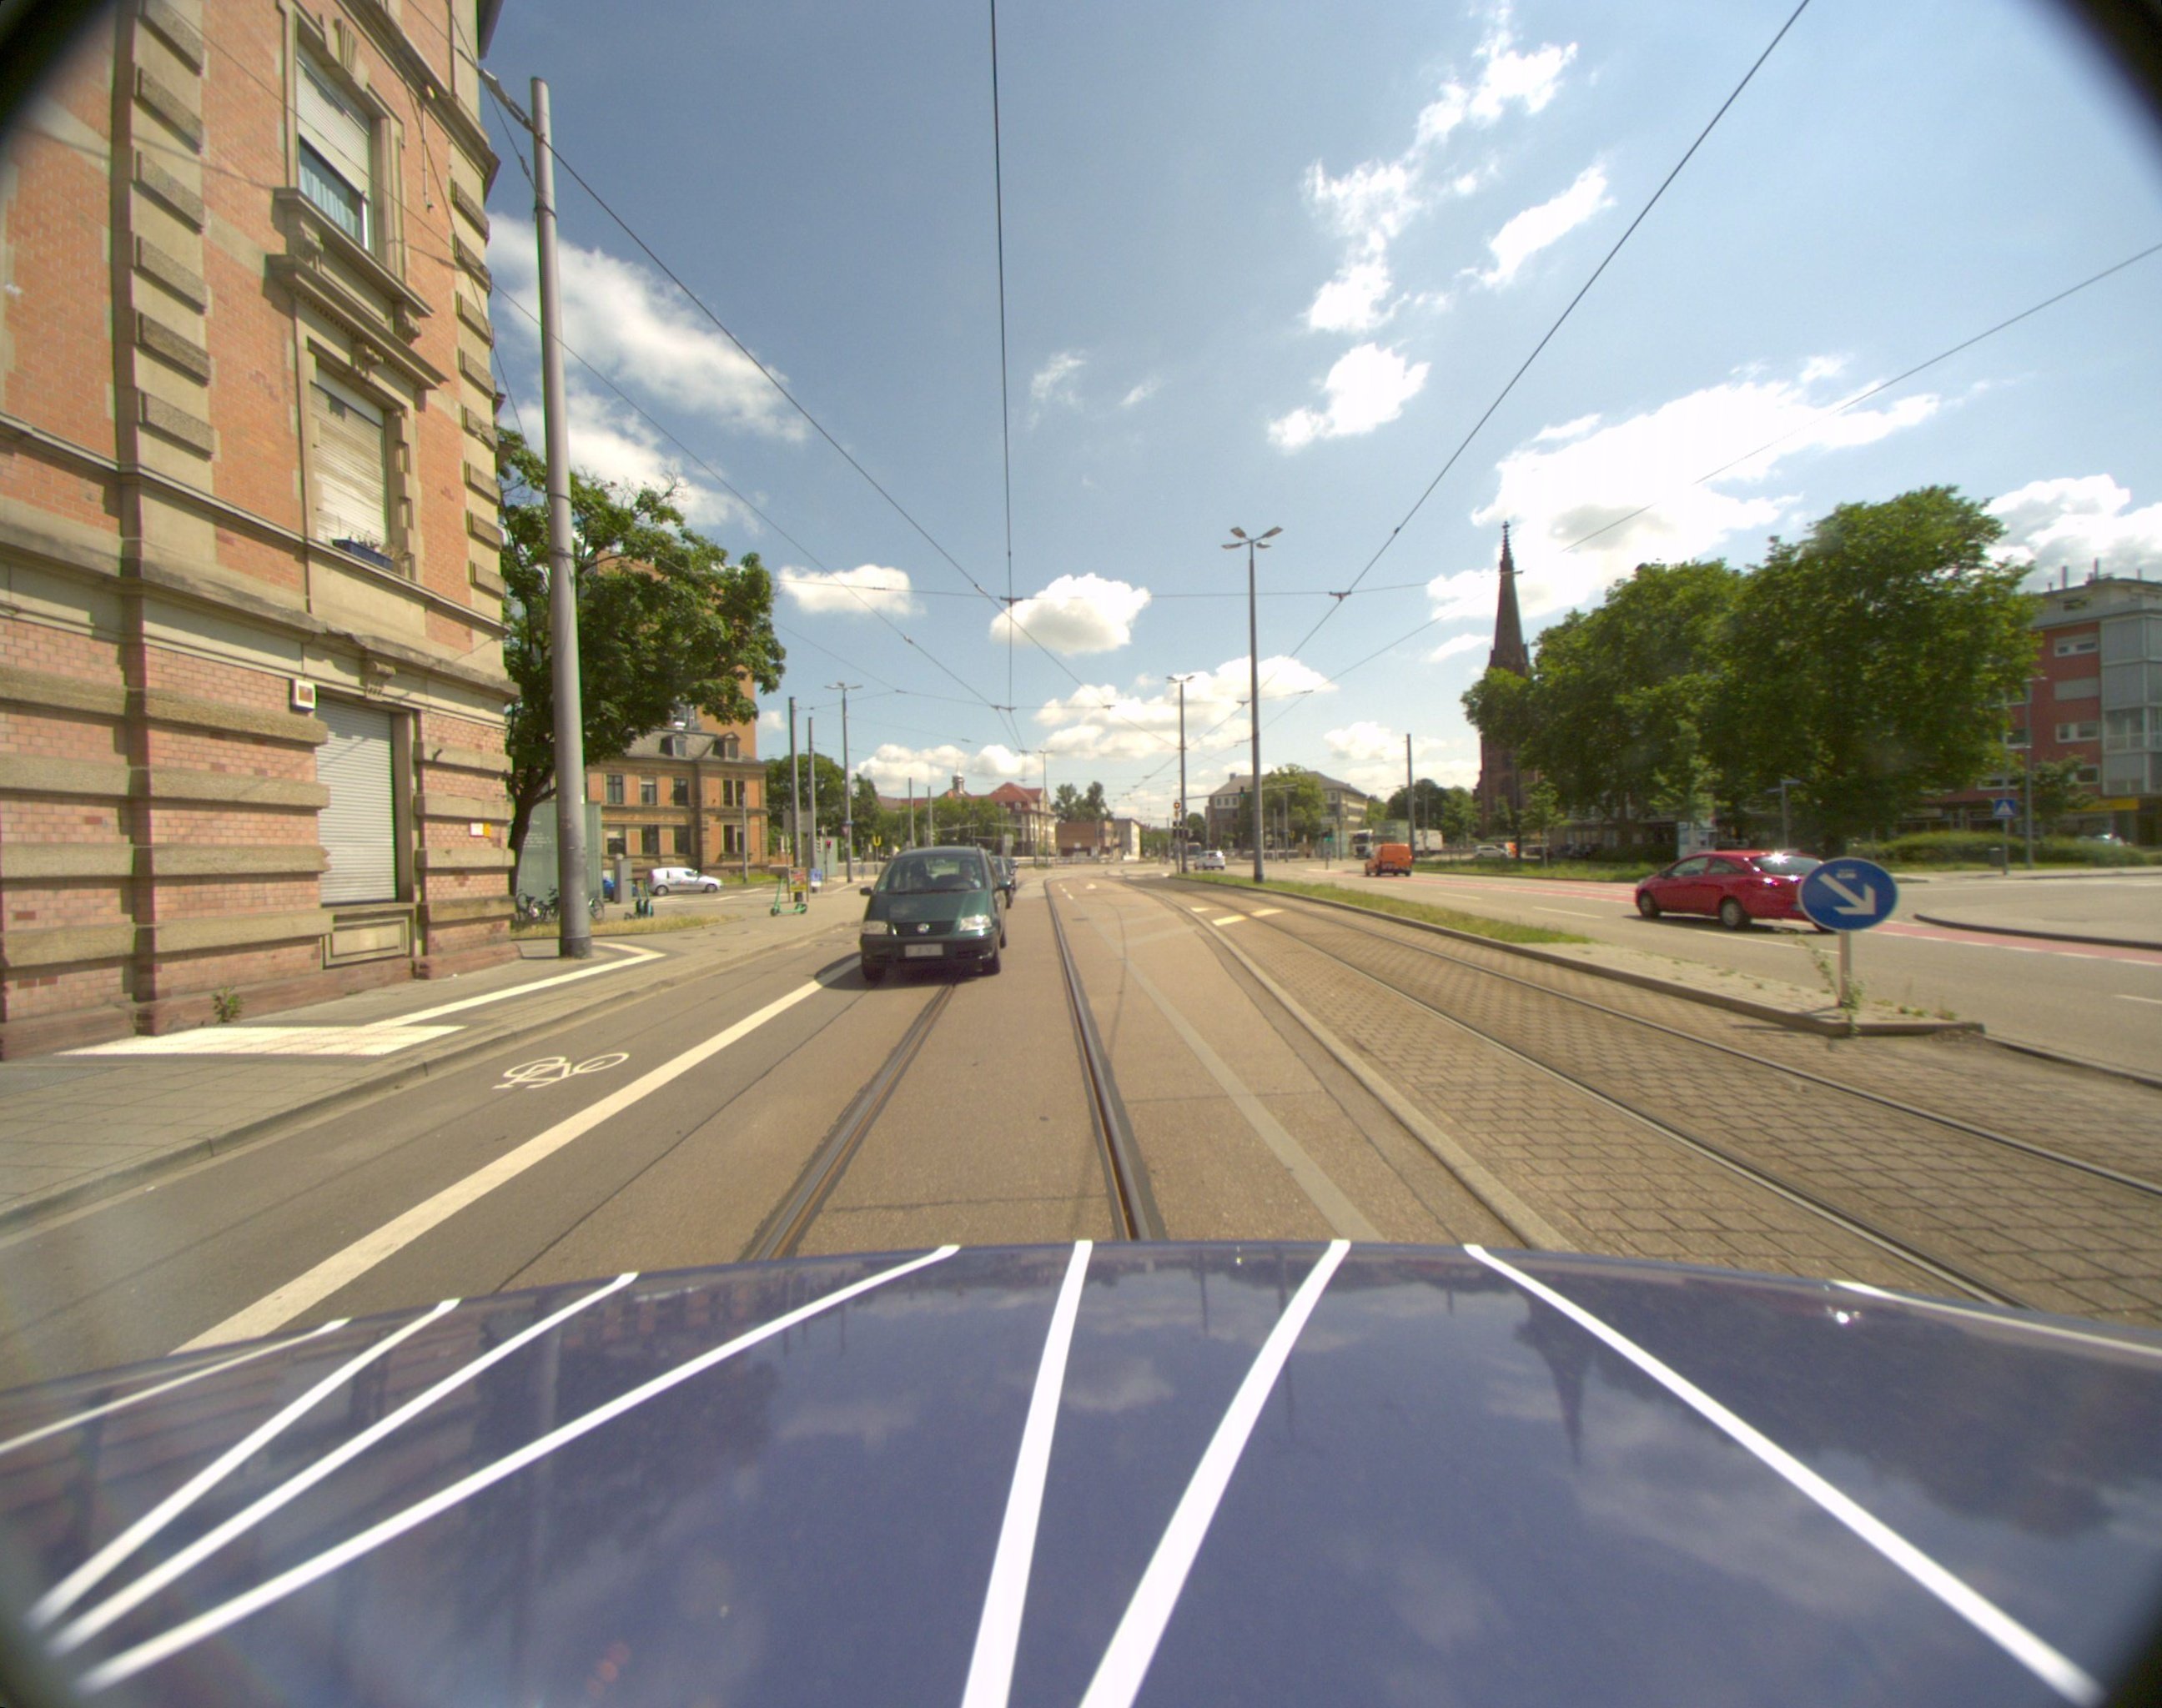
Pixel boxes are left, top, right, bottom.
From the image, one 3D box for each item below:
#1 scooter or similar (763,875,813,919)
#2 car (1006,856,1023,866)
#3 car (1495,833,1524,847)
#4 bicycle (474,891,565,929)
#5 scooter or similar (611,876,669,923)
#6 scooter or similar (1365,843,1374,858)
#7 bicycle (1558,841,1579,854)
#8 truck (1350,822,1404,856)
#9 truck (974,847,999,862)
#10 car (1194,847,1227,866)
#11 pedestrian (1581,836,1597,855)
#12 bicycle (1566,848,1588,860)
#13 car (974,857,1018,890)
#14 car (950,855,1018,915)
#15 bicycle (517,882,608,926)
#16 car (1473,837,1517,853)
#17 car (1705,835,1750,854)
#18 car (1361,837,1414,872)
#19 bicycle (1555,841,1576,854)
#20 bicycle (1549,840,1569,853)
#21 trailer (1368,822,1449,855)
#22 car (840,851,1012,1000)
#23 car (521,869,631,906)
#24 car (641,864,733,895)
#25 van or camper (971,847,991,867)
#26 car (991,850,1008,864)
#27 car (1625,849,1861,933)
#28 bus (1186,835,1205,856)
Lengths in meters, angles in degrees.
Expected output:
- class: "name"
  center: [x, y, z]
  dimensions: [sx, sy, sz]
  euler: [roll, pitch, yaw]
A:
- class: "scooter or similar"
  center: [-8.393, 1.219, 21.820]
  dimensions: [0.950, 1.173, 1.086]
  euler: [-1, 1, 3]
- class: "car"
  center: [-9.249, 1.023, 105.551]
  dimensions: [1.673, 1.368, 3.911]
  euler: [-1, 0, -14]
- class: "car"
  center: [56.147, -1.818, 99.475]
  dimensions: [4.249, 1.755, 1.766]
  euler: [-2, 1, -37]
- class: "bicycle"
  center: [-15.713, 1.558, 21.347]
  dimensions: [0.844, 0.874, 2.287]
  euler: [0, 1, 0]
- class: "scooter or similar"
  center: [-12.430, 1.260, 21.455]
  dimensions: [0.951, 1.196, 1.389]
  euler: [-1, 1, -10]
- class: "scooter or similar"
  center: [23.549, -0.275, 61.938]
  dimensions: [0.462, 1.193, 0.549]
  euler: [-1, 0, -4]
- class: "bicycle"
  center: [46.076, -0.646, 71.836]
  dimensions: [0.494, 1.161, 1.598]
  euler: [-2, 0, -34]
- class: "truck"
  center: [37.633, -1.886, 96.518]
  dimensions: [6.890, 4.095, 2.956]
  euler: [-2, 1, -33]
- class: "truck"
  center: [-20.372, 0.206, 163.167]
  dimensions: [3.360, 2.980, 8.719]
  euler: [-2, 0, -21]
- class: "car"
  center: [11.475, 0.204, 67.583]
  dimensions: [1.772, 1.594, 4.491]
  euler: [0, 0, -5]
- class: "pedestrian"
  center: [43.837, -0.742, 65.575]
  dimensions: [0.725, 1.551, 0.878]
  euler: [-1, 0, -25]
- class: "bicycle"
  center: [44.614, 0.019, 68.395]
  dimensions: [0.494, 1.060, 1.598]
  euler: [-2, 0, -34]
- class: "car"
  center: [-4.228, 0.913, 37.333]
  dimensions: [1.874, 1.477, 4.422]
  euler: [-2, 0, -10]
- class: "car"
  center: [-3.057, 0.901, 24.373]
  dimensions: [1.874, 1.607, 4.424]
  euler: [-4, 0, -6]
- class: "bicycle"
  center: [-14.628, 1.376, 21.537]
  dimensions: [1.027, 1.075, 2.263]
  euler: [0, 1, 0]
- class: "car"
  center: [47.390, -1.009, 87.070]
  dimensions: [4.165, 1.633, 1.631]
  euler: [-1, 0, 15]
- class: "car"
  center: [52.212, -0.781, 61.362]
  dimensions: [3.938, 1.501, 1.875]
  euler: [-1, 0, -35]
- class: "car"
  center: [17.280, 0.024, 43.011]
  dimensions: [1.914, 1.855, 4.370]
  euler: [0, 0, 10]
- class: "bicycle"
  center: [46.489, -0.625, 72.931]
  dimensions: [0.494, 1.257, 1.598]
  euler: [-2, 0, -34]
- class: "bicycle"
  center: [47.607, -0.720, 75.629]
  dimensions: [0.494, 1.257, 1.598]
  euler: [-2, 0, -34]
- class: "trailer"
  center: [43.364, -2.084, 100.333]
  dimensions: [13.442, 4.053, 2.941]
  euler: [-2, 1, -34]
- class: "car"
  center: [-2.020, 0.847, 11.092]
  dimensions: [1.819, 1.707, 4.084]
  euler: [-2, 0, -3]
- class: "car"
  center: [-25.490, 1.658, 38.425]
  dimensions: [4.435, 1.542, 1.868]
  euler: [-2, 2, -40]
- class: "car"
  center: [-23.107, 1.466, 44.641]
  dimensions: [4.435, 1.578, 1.869]
  euler: [-2, 1, -41]
- class: "van or camper"
  center: [-14.808, 0.461, 112.357]
  dimensions: [2.234, 2.719, 5.515]
  euler: [-1, 0, -15]
- class: "car"
  center: [-12.078, 0.448, 112.530]
  dimensions: [1.817, 2.002, 3.994]
  euler: [-2, 0, -16]
- class: "car"
  center: [12.730, 0.616, 14.980]
  dimensions: [1.705, 1.420, 3.905]
  euler: [0, 0, 10]
- class: "bus"
  center: [19.315, -1.427, 128.161]
  dimensions: [2.948, 3.427, 7.952]
  euler: [-1, 0, 8]
